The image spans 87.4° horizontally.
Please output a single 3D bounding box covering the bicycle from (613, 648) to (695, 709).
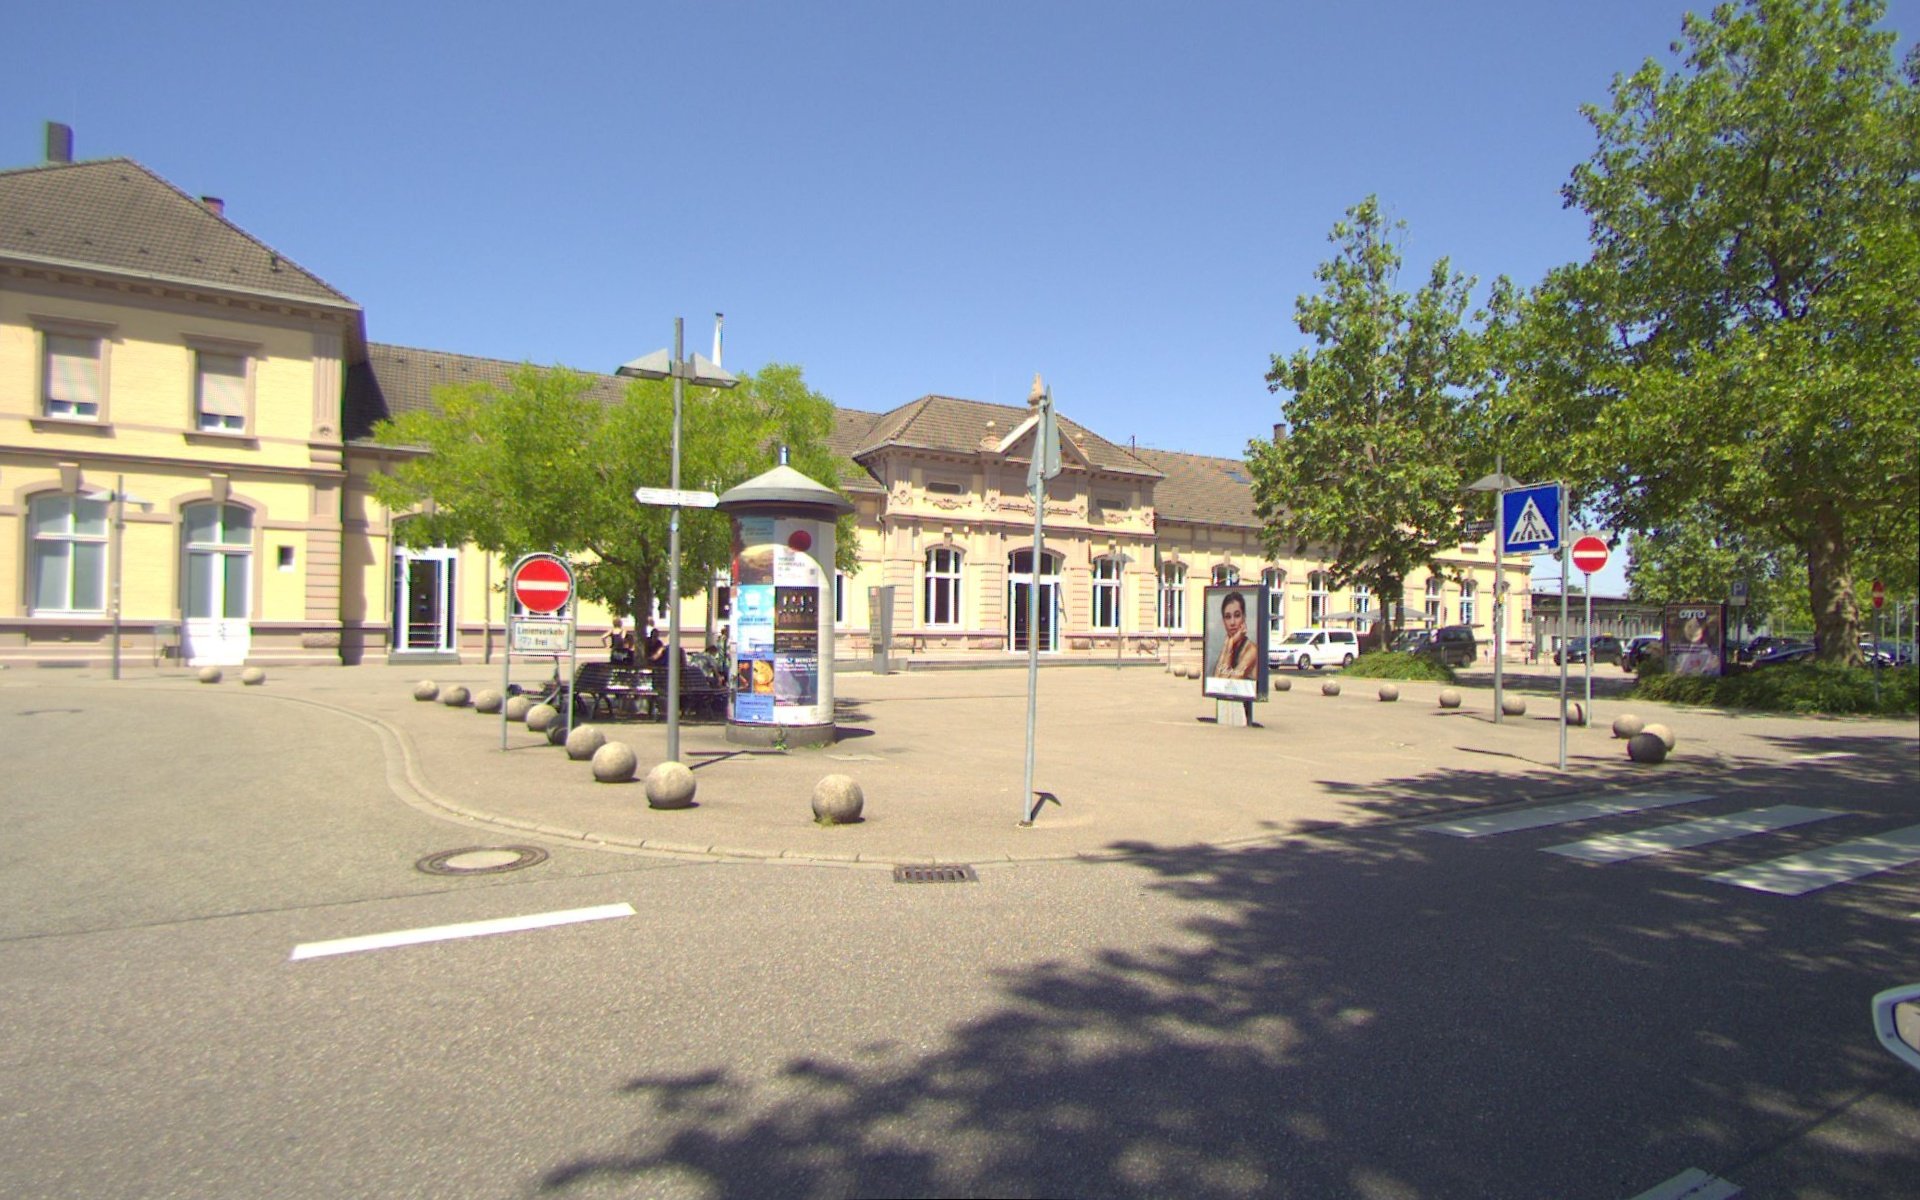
[{"bbox_3d":[-5.711,1.436,18.698,1.770,1.044,0.487,0,-2,37],"label":"bicycle"}]

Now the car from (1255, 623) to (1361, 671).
[{"bbox_3d":[15.265,2.076,43.977,4.721,1.942,1.743,3,-3,-31],"label":"car"}]

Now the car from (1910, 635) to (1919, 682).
[{"bbox_3d":[38.832,2.304,38.137,3.943,1.805,1.990,0,-3,42],"label":"car"}]

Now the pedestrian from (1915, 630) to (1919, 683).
[{"bbox_3d":[36.864,2.163,38.310,0.566,2.040,0.618,4,-3,-43],"label":"pedestrian"}]

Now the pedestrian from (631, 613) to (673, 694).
[{"bbox_3d":[-6.808,1.181,22.223,0.573,1.732,0.588,2,-2,14],"label":"pedestrian"}]

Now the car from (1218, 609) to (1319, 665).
[{"bbox_3d":[14.636,1.773,47.506,4.949,2.501,1.709,2,0,-32],"label":"car"}]

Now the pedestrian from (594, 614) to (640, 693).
[{"bbox_3d":[-7.613,1.182,22.311,0.644,1.695,0.632,2,-2,14],"label":"pedestrian"}]

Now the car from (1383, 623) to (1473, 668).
[{"bbox_3d":[21.976,2.155,47.165,3.954,2.040,1.984,2,-2,-31],"label":"car"}]

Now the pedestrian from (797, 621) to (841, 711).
[{"bbox_3d":[-2.714,1.258,19.246,0.708,1.681,0.761,3,-2,-13],"label":"pedestrian"}]
